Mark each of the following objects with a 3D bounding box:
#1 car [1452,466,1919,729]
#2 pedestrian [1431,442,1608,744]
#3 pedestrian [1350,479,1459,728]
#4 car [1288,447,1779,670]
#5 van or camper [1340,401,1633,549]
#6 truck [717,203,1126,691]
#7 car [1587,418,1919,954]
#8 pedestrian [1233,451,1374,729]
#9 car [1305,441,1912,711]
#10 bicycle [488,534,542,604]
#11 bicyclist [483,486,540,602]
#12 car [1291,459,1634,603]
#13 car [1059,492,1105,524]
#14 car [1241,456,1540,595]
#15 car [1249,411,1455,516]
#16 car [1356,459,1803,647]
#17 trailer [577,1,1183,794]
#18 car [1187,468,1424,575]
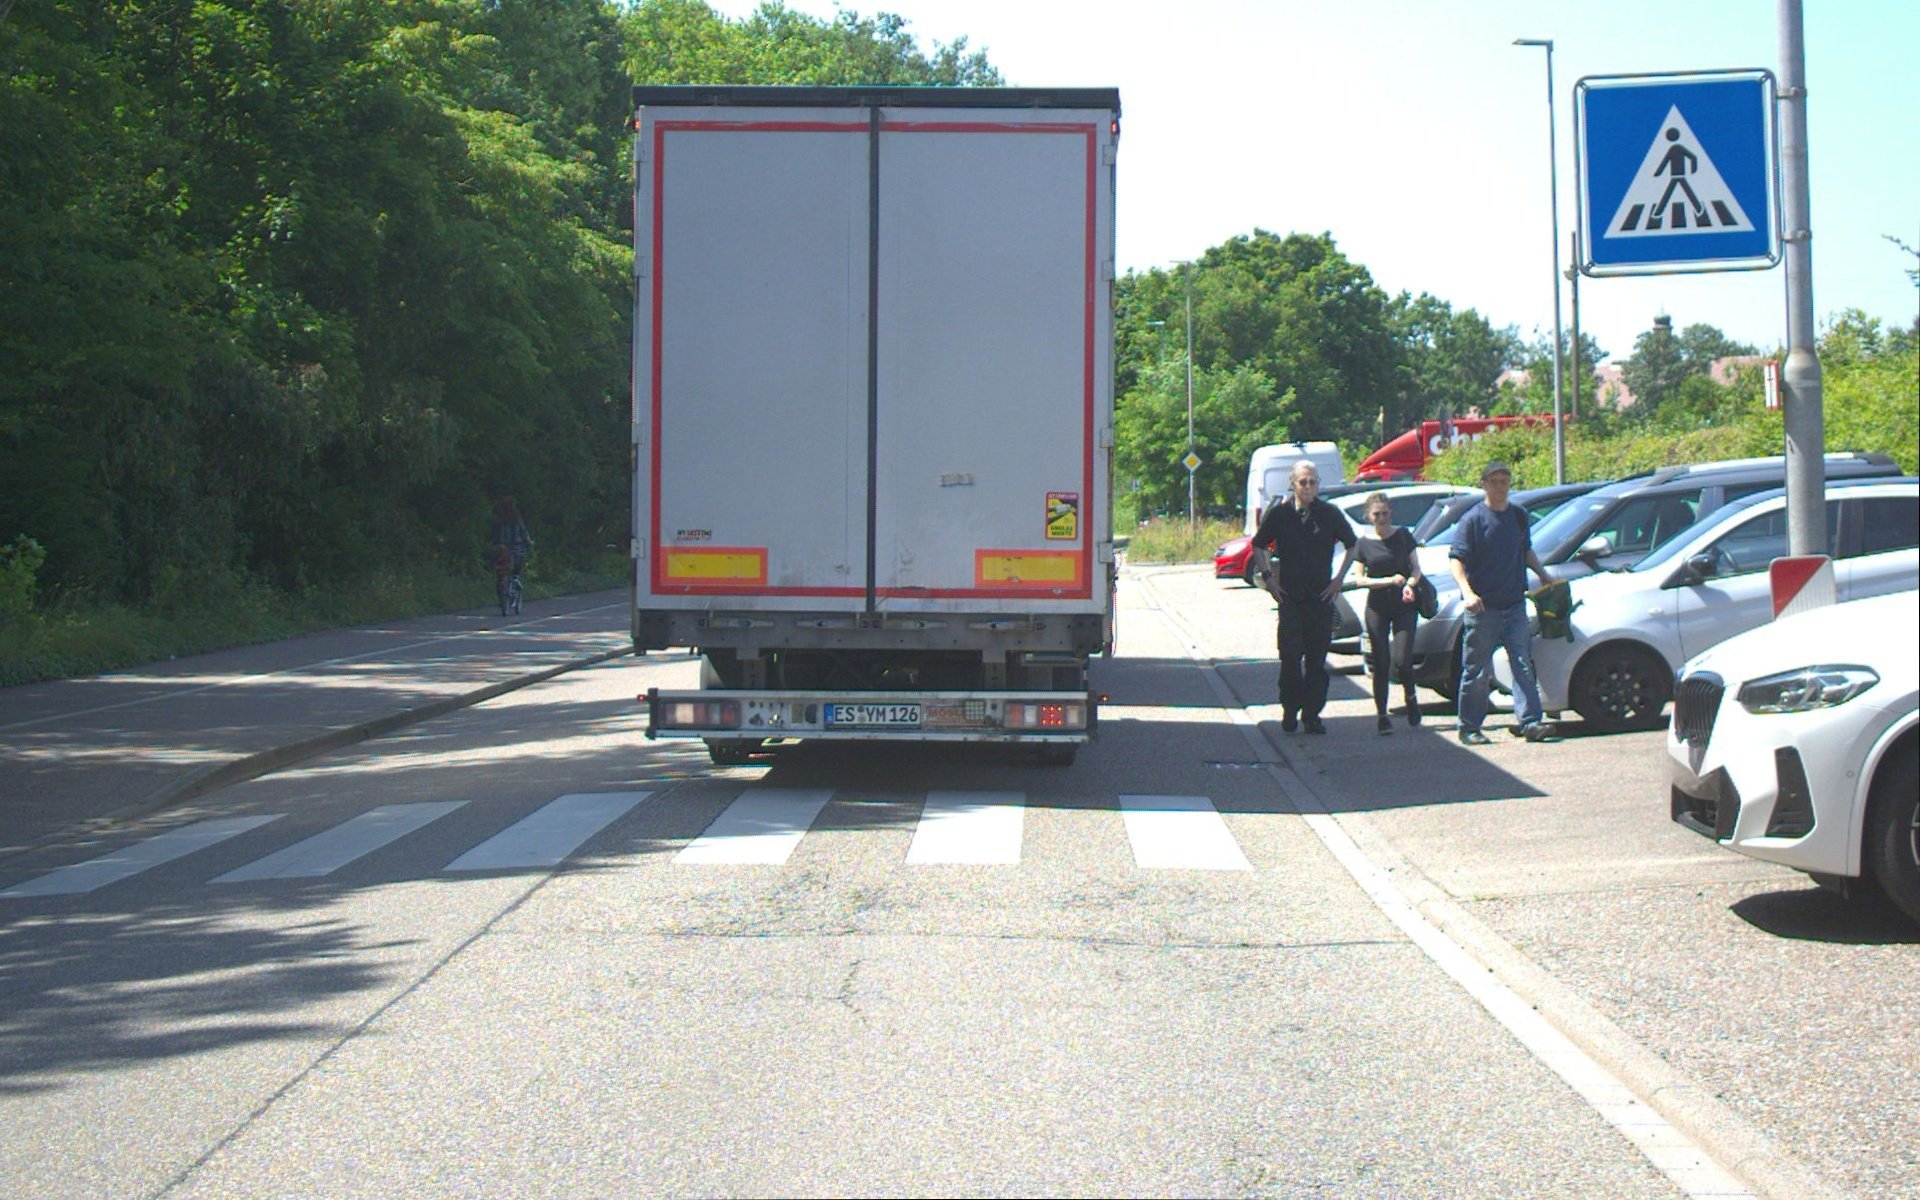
[{"bbox_3d":[5.300,-0.069,22.423,3.957,1.475,1.813,-4,1,5],"label":"car"},{"bbox_3d":[3.495,-0.051,21.558,0.907,1.792,0.935,-4,1,5],"label":"pedestrian"},{"bbox_3d":[2.982,0.017,23.096,0.589,1.609,0.744,-4,1,5],"label":"pedestrian"},{"bbox_3d":[5.142,-0.411,31.078,3.955,1.662,1.814,-4,4,-7],"label":"car"},{"bbox_3d":[13.221,-3.099,86.162,7.049,3.574,2.771,0,1,14],"label":"van or camper"},{"bbox_3d":[-0.205,-1.269,29.422,3.114,3.712,6.414,0,2,2],"label":"truck"},{"bbox_3d":[4.668,0.117,12.151,4.404,1.692,1.877,-5,1,-2],"label":"car"},{"bbox_3d":[2.361,-0.078,23.662,0.822,1.828,0.792,-4,1,5],"label":"pedestrian"},{"bbox_3d":[4.717,-0.188,25.328,3.956,1.662,1.814,-4,1,-5],"label":"car"},{"bbox_3d":[-6.795,-0.488,52.567,0.454,1.043,2.203,0,1,2],"label":"bicycle"},{"bbox_3d":[-6.823,-0.853,52.328,0.717,1.752,0.796,0,1,4],"label":"bicyclist"},{"bbox_3d":[6.318,-0.879,43.530,3.956,1.613,1.814,-2,1,-3],"label":"car"},{"bbox_3d":[5.974,-4.510,167.763,1.781,1.481,3.999,-2,2,8],"label":"car"},{"bbox_3d":[6.206,-1.082,49.832,3.956,1.759,1.814,-3,1,-3],"label":"car"},{"bbox_3d":[7.982,-2.773,70.293,3.956,1.792,1.813,-4,-1,3],"label":"car"},{"bbox_3d":[6.159,-0.470,34.416,3.955,1.580,1.814,-4,1,-7],"label":"car"},{"bbox_3d":[-0.336,-1.228,23.615,3.113,4.088,11.537,0,2,1],"label":"trailer"},{"bbox_3d":[6.256,-1.424,62.504,3.956,1.662,1.814,-4,1,-3],"label":"car"}]
